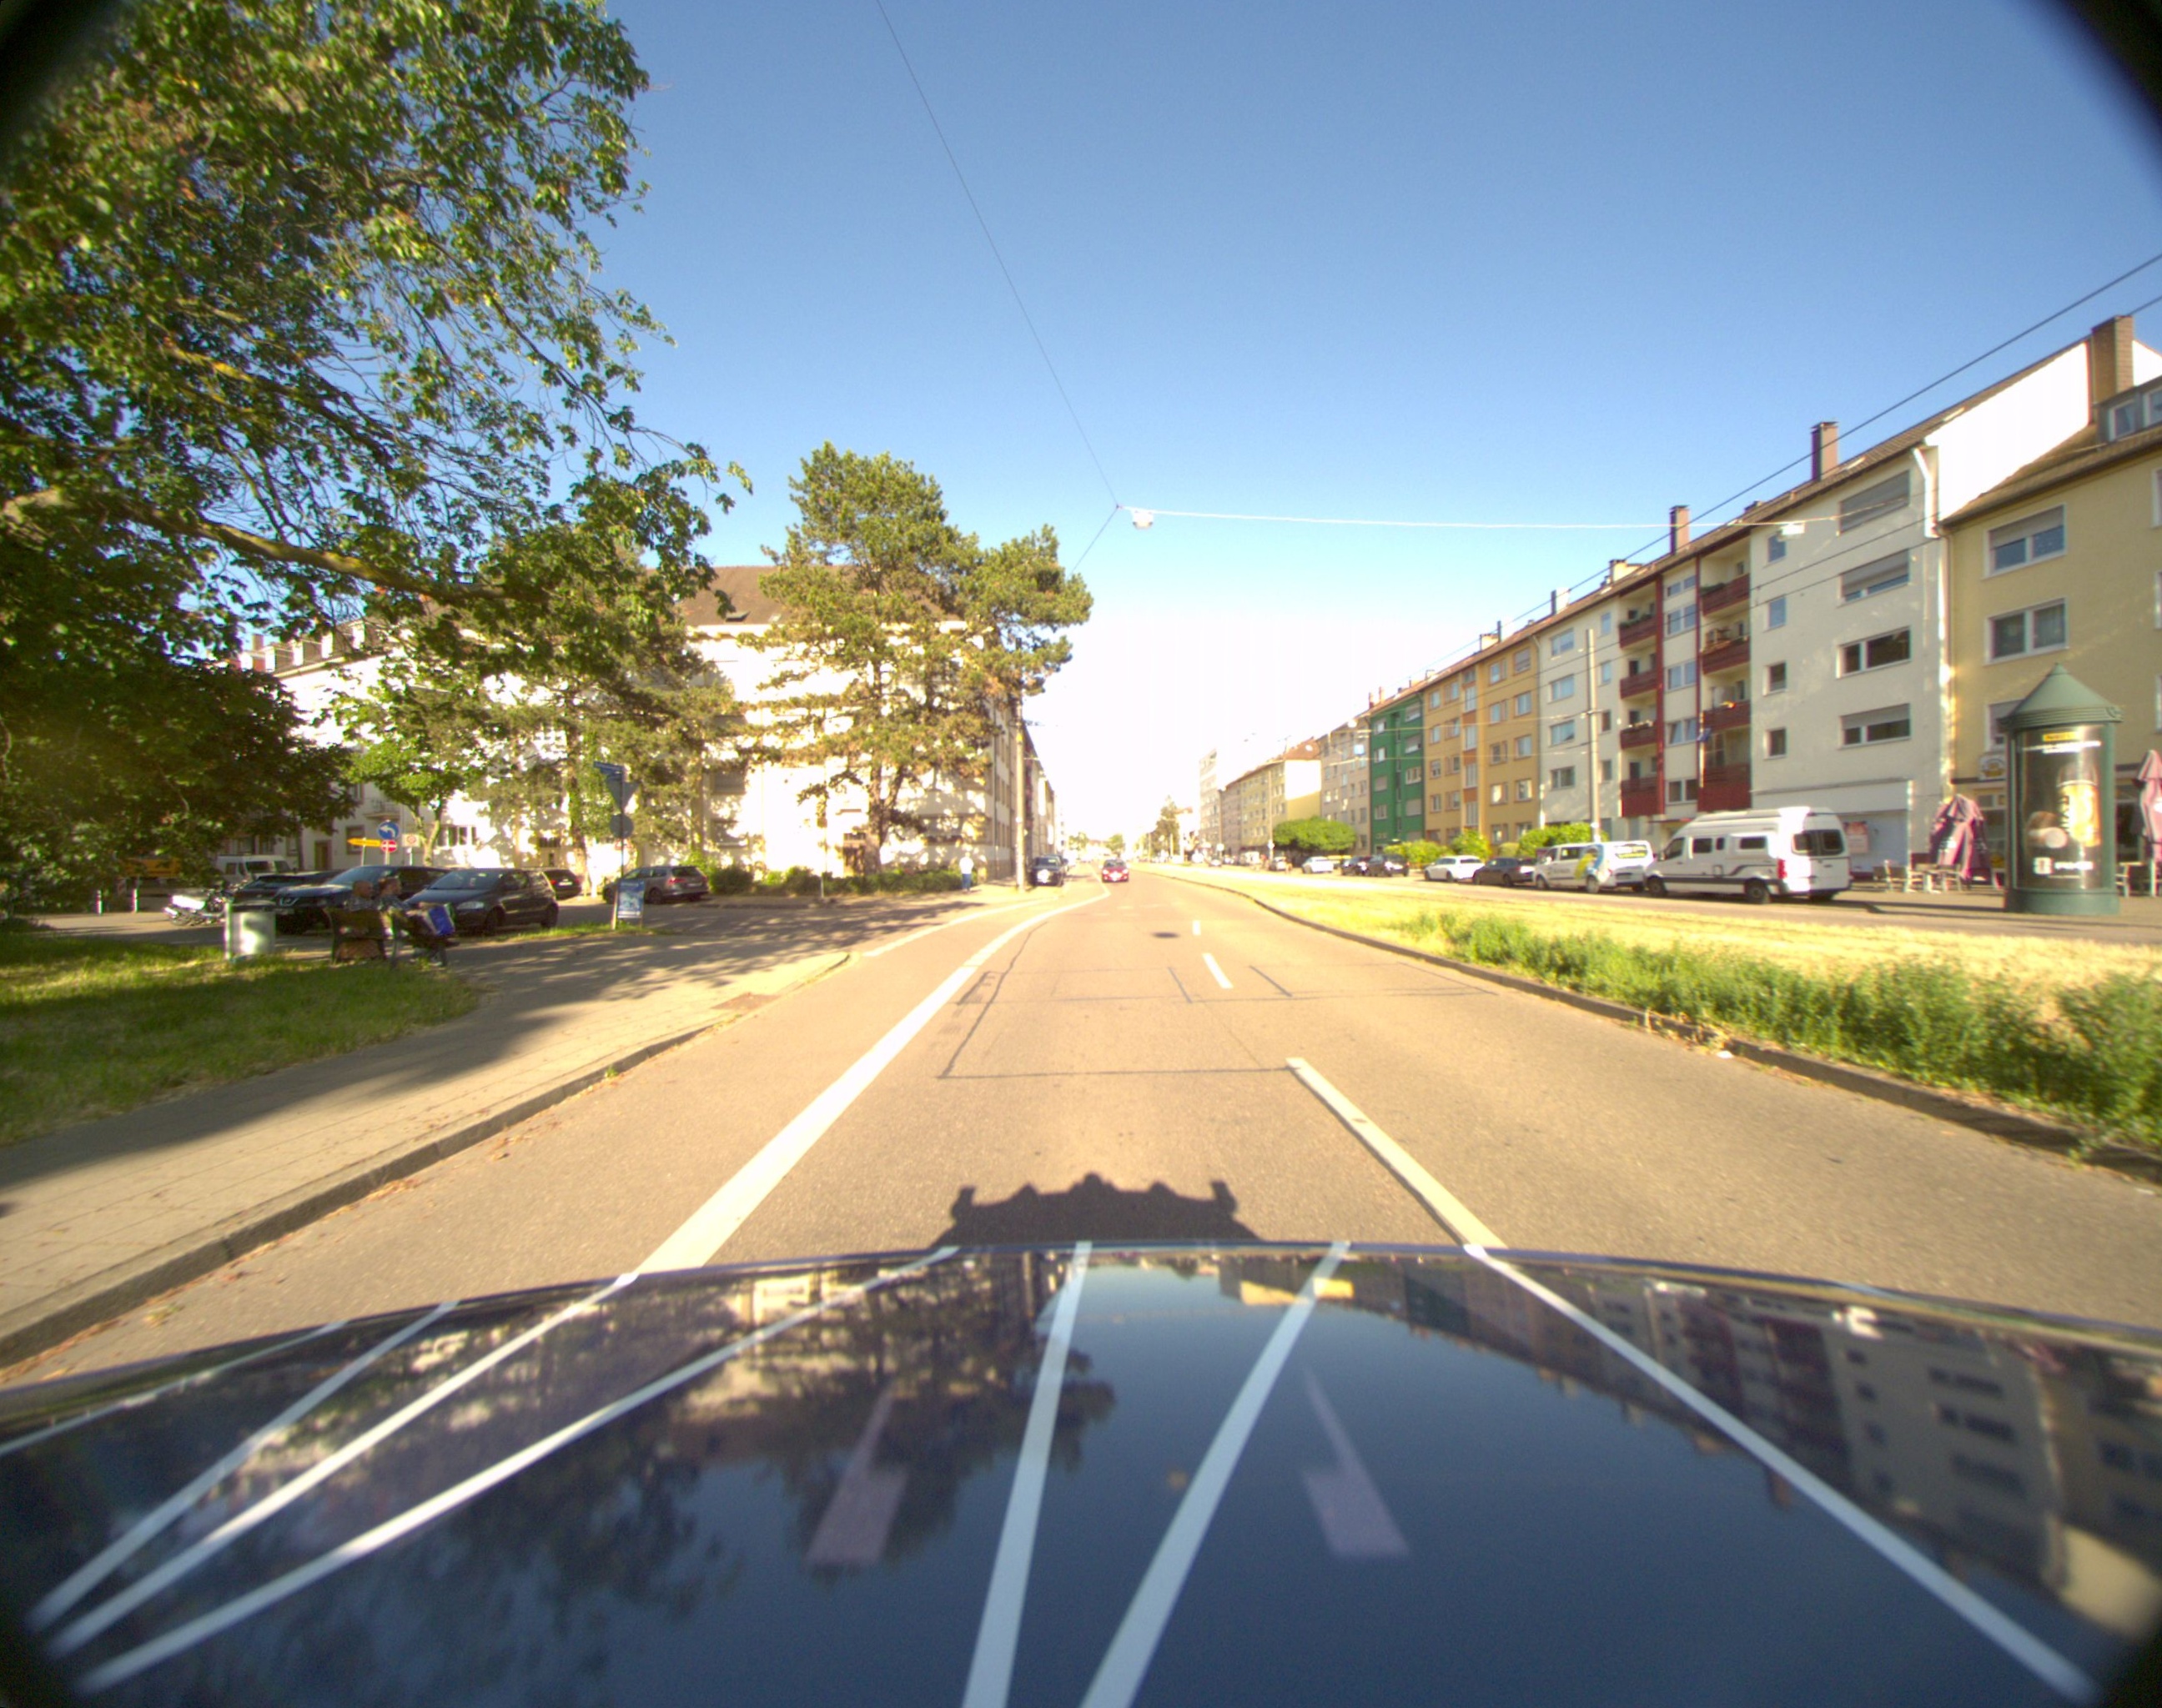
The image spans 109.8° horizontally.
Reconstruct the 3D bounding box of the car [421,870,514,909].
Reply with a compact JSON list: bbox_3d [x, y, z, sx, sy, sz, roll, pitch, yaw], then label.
[{"bbox_3d":[-28.554,1.633,35.354,3.903,1.701,1.773,-2,-1,24],"label":"car"}]

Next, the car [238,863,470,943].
[{"bbox_3d":[-16.254,1.016,17.281,1.455,1.563,3.810,0,0,4],"label":"car"}]

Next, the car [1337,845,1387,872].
[{"bbox_3d":[21.039,0.311,57.148,1.998,1.827,4.609,-3,0,0],"label":"car"}]

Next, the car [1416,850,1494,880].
[{"bbox_3d":[20.838,0.589,42.538,1.897,1.483,4.702,-3,0,-2],"label":"car"}]

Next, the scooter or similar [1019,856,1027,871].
[{"bbox_3d":[-4.948,0.814,64.956,0.459,1.231,1.338,3,0,1],"label":"scooter or similar"}]

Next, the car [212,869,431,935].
[{"bbox_3d":[-19.229,1.141,19.565,1.640,1.432,4.239,0,0,-5],"label":"car"}]

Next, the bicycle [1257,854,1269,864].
[{"bbox_3d":[20.774,0.568,86.606,0.511,1.086,1.934,-4,0,-11],"label":"bicycle"}]

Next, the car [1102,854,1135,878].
[{"bbox_3d":[2.274,0.720,47.099,1.862,1.461,3.809,0,0,1],"label":"car"}]

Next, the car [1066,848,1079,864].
[{"bbox_3d":[-1.444,0.265,132.694,2.156,2.680,6.291,1,0,0],"label":"car"}]

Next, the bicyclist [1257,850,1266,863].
[{"bbox_3d":[18.748,0.248,79.056,0.775,1.376,0.648,-1,1,0],"label":"bicyclist"}]

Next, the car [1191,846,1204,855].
[{"bbox_3d":[25.912,-0.834,169.665,1.999,1.887,4.669,-3,0,-2],"label":"car"}]

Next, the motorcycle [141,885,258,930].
[{"bbox_3d":[-22.042,1.336,19.040,1.785,1.066,0.713,2,-1,-16],"label":"motorcycle"}]

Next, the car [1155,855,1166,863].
[{"bbox_3d":[17.333,1.084,165.602,1.862,1.541,4.240,1,0,-2],"label":"car"}]

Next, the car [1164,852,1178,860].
[{"bbox_3d":[17.886,0.339,151.399,1.788,1.519,4.413,0,0,-5],"label":"car"}]

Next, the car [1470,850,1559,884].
[{"bbox_3d":[20.940,0.599,36.910,1.699,1.506,4.325,-2,0,-2],"label":"car"}]

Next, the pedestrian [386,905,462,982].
[{"bbox_3d":[-8.541,1.148,9.885,0.403,0.928,0.624,-3,-2,27],"label":"pedestrian"}]

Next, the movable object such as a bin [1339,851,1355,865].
[{"bbox_3d":[26.559,0.375,75.928,1.149,1.360,1.039,-3,1,3],"label":"movable object such as a bin"}]

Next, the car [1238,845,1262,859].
[{"bbox_3d":[25.788,-0.281,116.165,1.999,1.938,5.499,-3,0,-3],"label":"car"}]

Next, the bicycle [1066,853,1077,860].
[{"bbox_3d":[-1.537,0.352,126.511,0.487,1.080,2.023,-4,0,-42],"label":"bicycle"}]

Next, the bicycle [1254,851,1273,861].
[{"bbox_3d":[21.933,0.283,91.388,2.052,1.086,0.616,-3,1,6],"label":"bicycle"}]

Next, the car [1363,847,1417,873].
[{"bbox_3d":[21.133,0.426,52.141,1.998,1.598,4.151,-3,0,0],"label":"car"}]

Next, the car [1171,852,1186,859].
[{"bbox_3d":[18.488,0.267,144.591,1.839,1.377,4.413,0,0,-6],"label":"car"}]

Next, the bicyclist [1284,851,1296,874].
[{"bbox_3d":[18.652,0.760,67.774,0.775,2.002,0.648,-3,1,0],"label":"bicyclist"}]

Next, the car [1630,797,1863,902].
[{"bbox_3d":[20.878,-0.125,24.373,2.037,2.852,6.228,-2,0,1],"label":"car"}]

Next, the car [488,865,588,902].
[{"bbox_3d":[-23.558,1.246,32.970,3.902,1.461,1.773,0,0,24],"label":"car"}]

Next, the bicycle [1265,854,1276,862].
[{"bbox_3d":[21.636,0.488,86.765,0.377,0.861,2.053,-4,0,-11],"label":"bicycle"}]

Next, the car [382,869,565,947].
[{"bbox_3d":[-13.467,1.120,17.157,1.641,1.485,3.805,0,0,-11],"label":"car"}]

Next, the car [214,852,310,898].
[{"bbox_3d":[-48.705,1.251,45.175,5.306,2.428,2.129,-3,0,23],"label":"car"}]

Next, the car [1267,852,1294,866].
[{"bbox_3d":[21.156,0.521,80.670,1.640,1.433,3.733,-3,0,-2],"label":"car"}]

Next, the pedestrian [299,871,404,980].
[{"bbox_3d":[-9.739,0.937,10.160,0.685,1.365,0.756,-3,1,27],"label":"pedestrian"}]

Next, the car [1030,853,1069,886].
[{"bbox_3d":[-1.788,0.858,44.168,1.883,1.707,4.934,2,0,1],"label":"car"}]

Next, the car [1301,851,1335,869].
[{"bbox_3d":[21.057,0.497,67.666,1.733,1.446,4.376,-2,0,0],"label":"car"}]

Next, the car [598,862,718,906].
[{"bbox_3d":[-16.427,1.123,29.497,4.294,1.493,1.772,0,4,24],"label":"car"}]

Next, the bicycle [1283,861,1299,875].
[{"bbox_3d":[18.643,1.251,67.443,0.770,1.139,2.474,1,0,1],"label":"bicycle"}]

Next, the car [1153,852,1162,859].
[{"bbox_3d":[17.661,0.443,175.452,1.617,1.550,4.000,1,0,0],"label":"car"}]

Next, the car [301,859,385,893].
[{"bbox_3d":[-39.971,1.208,41.152,3.991,1.601,1.803,-3,0,23],"label":"car"}]

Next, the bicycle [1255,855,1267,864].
[{"bbox_3d":[18.758,0.578,79.110,0.770,0.874,2.069,1,0,1],"label":"bicycle"}]

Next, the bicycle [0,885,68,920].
[{"bbox_3d":[-38.748,1.784,27.678,0.596,1.181,2.064,-3,0,17],"label":"bicycle"}]

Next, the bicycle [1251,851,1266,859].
[{"bbox_3d":[26.263,0.102,112.362,2.103,1.099,0.472,-3,1,1],"label":"bicycle"}]

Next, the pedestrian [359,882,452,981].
[{"bbox_3d":[-8.947,1.007,10.081,0.403,1.219,0.762,-3,1,27],"label":"pedestrian"}]

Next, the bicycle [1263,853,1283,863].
[{"bbox_3d":[22.103,0.448,87.600,2.050,1.086,0.616,-3,0,27],"label":"bicycle"}]

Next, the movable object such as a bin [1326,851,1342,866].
[{"bbox_3d":[25.256,0.453,75.860,1.149,1.360,1.039,-3,1,3],"label":"movable object such as a bin"}]

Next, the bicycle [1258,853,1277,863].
[{"bbox_3d":[21.806,0.465,88.971,2.052,1.086,0.616,-3,1,6],"label":"bicycle"}]

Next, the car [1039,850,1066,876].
[{"bbox_3d":[-2.199,0.702,60.190,1.918,1.888,5.134,2,0,0],"label":"car"}]

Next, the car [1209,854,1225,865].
[{"bbox_3d":[19.392,0.774,108.394,1.698,1.439,4.217,0,0,1],"label":"car"}]

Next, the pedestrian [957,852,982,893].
[{"bbox_3d":[-4.750,0.778,32.266,0.882,1.712,0.725,0,0,6],"label":"pedestrian"}]

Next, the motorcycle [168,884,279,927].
[{"bbox_3d":[-22.387,1.335,19.877,1.785,1.066,0.713,2,-1,-16],"label":"motorcycle"}]

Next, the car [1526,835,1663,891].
[{"bbox_3d":[20.906,0.338,31.295,2.037,2.009,5.370,-3,0,1],"label":"car"}]
